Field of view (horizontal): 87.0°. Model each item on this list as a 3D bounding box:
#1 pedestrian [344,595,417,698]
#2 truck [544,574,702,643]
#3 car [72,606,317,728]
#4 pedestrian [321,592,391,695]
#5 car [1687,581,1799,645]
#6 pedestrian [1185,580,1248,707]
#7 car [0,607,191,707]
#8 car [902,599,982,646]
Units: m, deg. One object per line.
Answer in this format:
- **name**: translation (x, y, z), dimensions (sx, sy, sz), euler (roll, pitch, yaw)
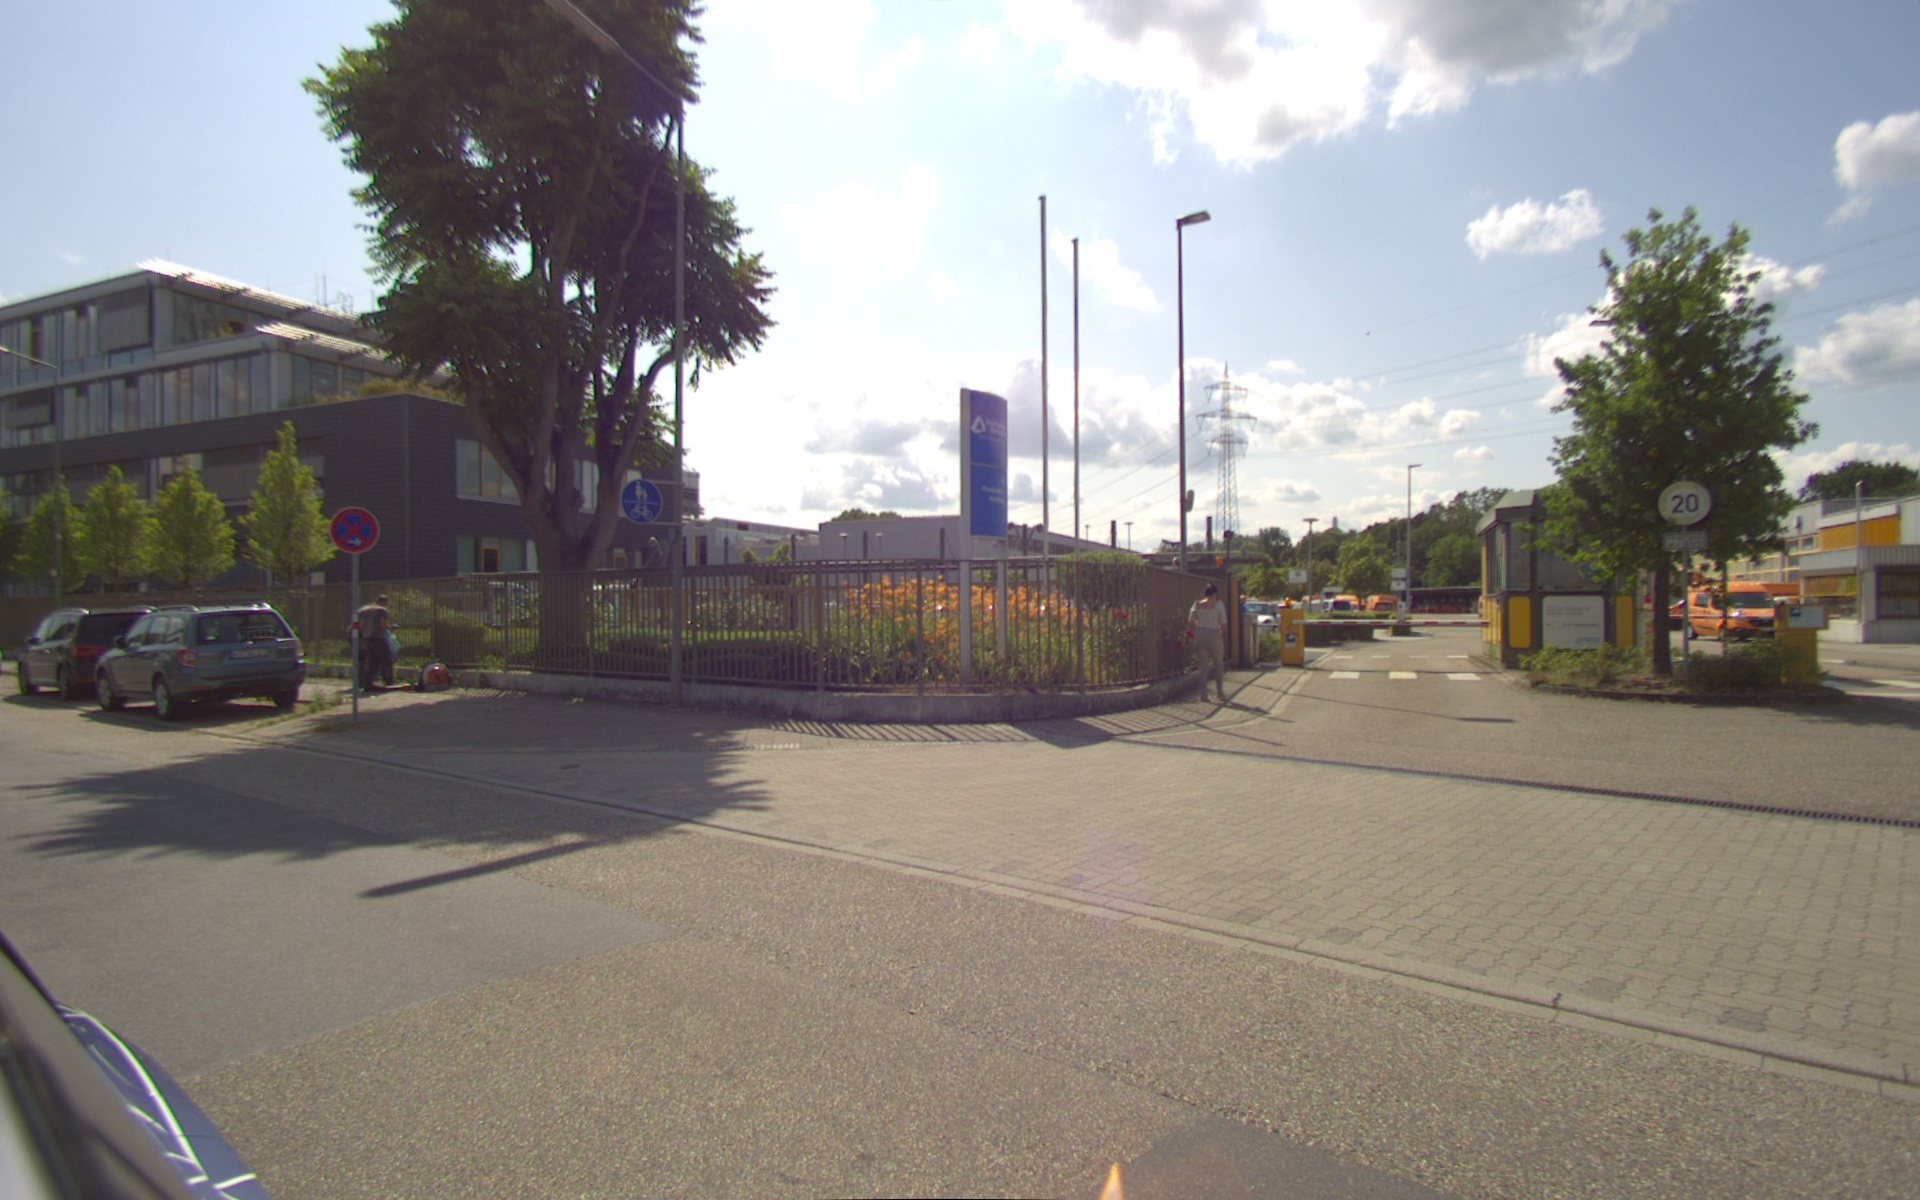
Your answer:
- **pedestrian**: translation (-10.026, 0.780, 17.505), dimensions (0.830, 1.704, 0.834), euler (-1, 1, 41)
- **truck**: translation (-14.043, 0.365, 42.760), dimensions (2.390, 2.678, 6.880), euler (-1, -1, 23)
- **car**: translation (-12.446, 0.987, 16.355), dimensions (4.678, 1.663, 1.784), euler (-1, 0, 35)
- **pedestrian**: translation (-10.872, 0.760, 18.225), dimensions (0.845, 1.774, 0.820), euler (-1, 1, 41)
- **car**: translation (29.521, 0.429, 38.332), dimensions (2.027, 2.261, 4.598), euler (-1, 1, 21)
- **pedestrian**: translation (3.559, 0.582, 14.043), dimensions (0.729, 1.704, 0.545), euler (2, 1, 23)
- **car**: translation (-16.780, 1.030, 19.597), dimensions (4.220, 1.695, 1.761), euler (-1, 1, 35)
- **car**: translation (-0.682, 0.872, 41.122), dimensions (1.737, 1.701, 3.968), euler (-1, 1, 24)
